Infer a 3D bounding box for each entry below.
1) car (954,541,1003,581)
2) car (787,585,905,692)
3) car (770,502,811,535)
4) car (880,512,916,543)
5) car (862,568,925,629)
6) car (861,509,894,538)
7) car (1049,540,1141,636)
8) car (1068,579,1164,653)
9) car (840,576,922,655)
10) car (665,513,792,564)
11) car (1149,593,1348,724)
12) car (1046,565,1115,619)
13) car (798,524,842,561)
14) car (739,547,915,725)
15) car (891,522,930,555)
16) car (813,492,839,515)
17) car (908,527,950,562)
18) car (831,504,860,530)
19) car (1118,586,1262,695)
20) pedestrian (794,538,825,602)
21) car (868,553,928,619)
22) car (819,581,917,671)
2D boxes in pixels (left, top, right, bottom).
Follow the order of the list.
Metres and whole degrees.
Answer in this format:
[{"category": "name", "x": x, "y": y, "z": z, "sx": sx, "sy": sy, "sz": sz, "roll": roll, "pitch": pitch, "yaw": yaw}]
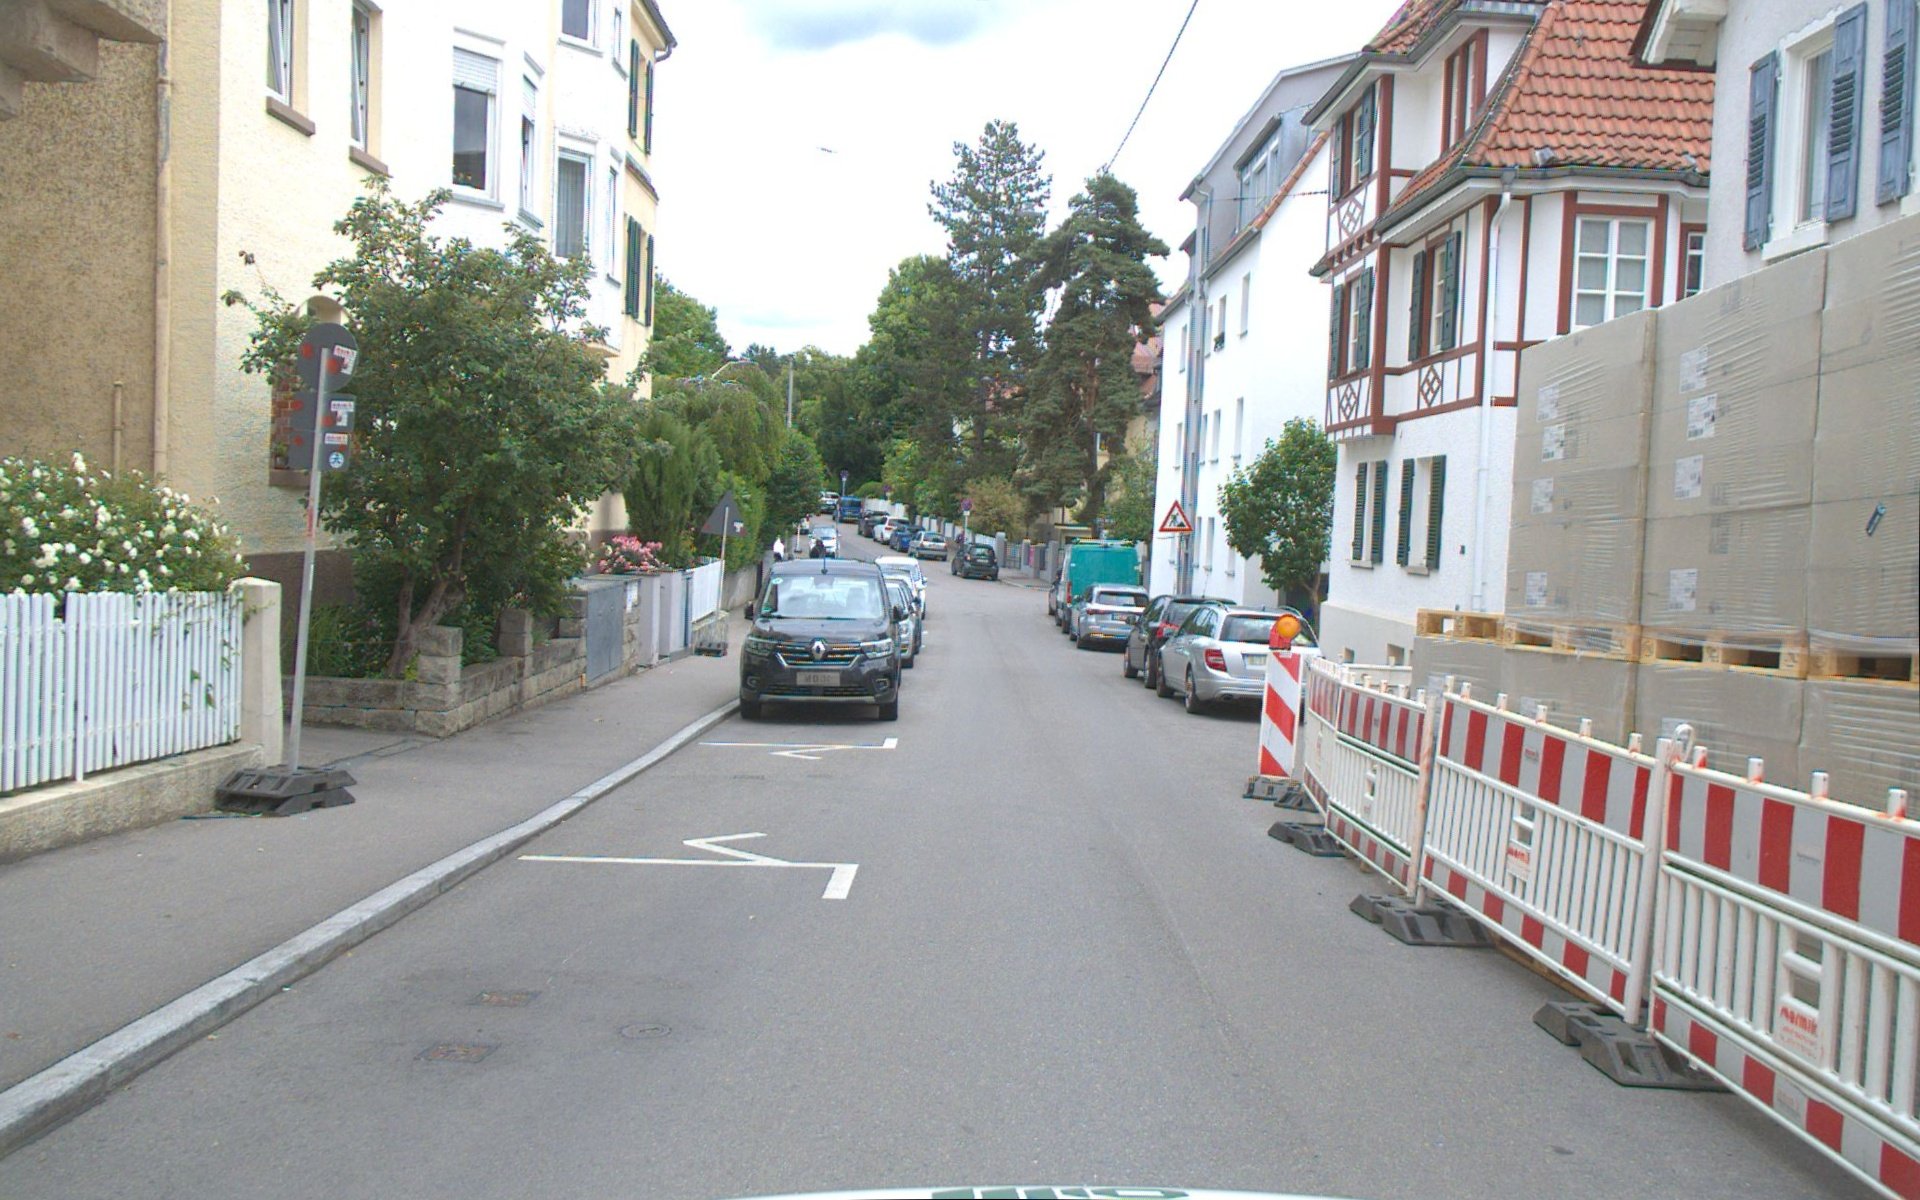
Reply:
[{"category": "car", "x": 0.808, "y": -1.793, "z": 75.039, "sx": 1.604, "sy": 1.509, "sz": 3.526, "roll": 4, "pitch": 4, "yaw": -8}, {"category": "car", "x": -1.677, "y": 0.527, "z": 25.081, "sx": 1.609, "sy": 1.412, "sz": 3.858, "roll": 2, "pitch": 1, "yaw": -3}, {"category": "car", "x": -10.546, "y": -5.072, "z": 102.616, "sx": 1.872, "sy": 1.908, "sz": 4.580, "roll": 1, "pitch": 4, "yaw": -15}, {"category": "car", "x": -3.691, "y": -4.290, "z": 97.525, "sx": 1.604, "sy": 1.563, "sz": 3.525, "roll": 3, "pitch": 4, "yaw": -10}, {"category": "car", "x": -1.757, "y": -0.068, "z": 44.335, "sx": 1.564, "sy": 1.437, "sz": 3.662, "roll": 2, "pitch": 2, "yaw": -2}, {"category": "car", "x": -5.159, "y": -4.802, "z": 103.194, "sx": 1.604, "sy": 1.563, "sz": 3.525, "roll": 3, "pitch": 4, "yaw": -10}, {"category": "car", "x": 3.606, "y": -0.384, "z": 44.803, "sx": 1.940, "sy": 2.403, "sz": 4.276, "roll": 3, "pitch": 2, "yaw": -2}, {"category": "car", "x": 3.561, "y": 0.335, "z": 38.389, "sx": 1.690, "sy": 1.473, "sz": 3.880, "roll": 3, "pitch": 2, "yaw": -2}, {"category": "car", "x": -1.610, "y": 0.280, "z": 34.618, "sx": 1.564, "sy": 1.503, "sz": 3.990, "roll": 2, "pitch": 1, "yaw": -2}, {"category": "car", "x": -9.018, "y": -2.395, "z": 64.850, "sx": 1.965, "sy": 1.668, "sz": 4.785, "roll": 5, "pitch": 2, "yaw": 41}, {"category": "car", "x": 3.846, "y": 0.718, "z": 22.821, "sx": 1.782, "sy": 1.467, "sz": 4.450, "roll": 3, "pitch": 1, "yaw": -2}, {"category": "car", "x": 3.667, "y": -0.277, "z": 51.067, "sx": 1.690, "sy": 1.473, "sz": 3.880, "roll": 3, "pitch": 2, "yaw": -2}, {"category": "car", "x": -7.150, "y": -2.922, "z": 83.993, "sx": 1.644, "sy": 1.685, "sz": 3.852, "roll": 1, "pitch": 4, "yaw": -13}, {"category": "car", "x": -1.545, "y": 0.375, "z": 19.810, "sx": 1.808, "sy": 1.847, "sz": 4.541, "roll": 2, "pitch": 0, "yaw": -4}, {"category": "car", "x": -2.763, "y": -3.405, "z": 91.348, "sx": 1.604, "sy": 1.509, "sz": 3.525, "roll": 3, "pitch": 4, "yaw": -10}, {"category": "car", "x": -10.363, "y": -7.454, "z": 127.701, "sx": 1.604, "sy": 1.563, "sz": 3.525, "roll": 3, "pitch": 4, "yaw": -10}, {"category": "car", "x": -1.657, "y": -2.921, "z": 86.856, "sx": 1.604, "sy": 1.509, "sz": 3.525, "roll": 3, "pitch": 4, "yaw": -10}, {"category": "car", "x": -8.144, "y": -5.900, "z": 117.511, "sx": 1.604, "sy": 1.563, "sz": 3.525, "roll": 3, "pitch": 4, "yaw": -10}, {"category": "car", "x": 3.717, "y": 0.608, "z": 27.351, "sx": 1.655, "sy": 1.546, "sz": 3.880, "roll": 3, "pitch": 1, "yaw": -2}, {"category": "pedestrian", "x": -4.759, "y": -0.949, "z": 52.347, "sx": 0.775, "sy": 1.966, "sz": 0.919, "roll": 3, "pitch": 1, "yaw": 2}, {"category": "car", "x": -1.788, "y": -0.449, "z": 48.536, "sx": 1.638, "sy": 1.685, "sz": 3.864, "roll": 2, "pitch": 4, "yaw": -2}, {"category": "car", "x": -1.595, "y": 0.411, "z": 29.844, "sx": 1.609, "sy": 1.441, "sz": 3.983, "roll": 2, "pitch": 1, "yaw": -2}]
